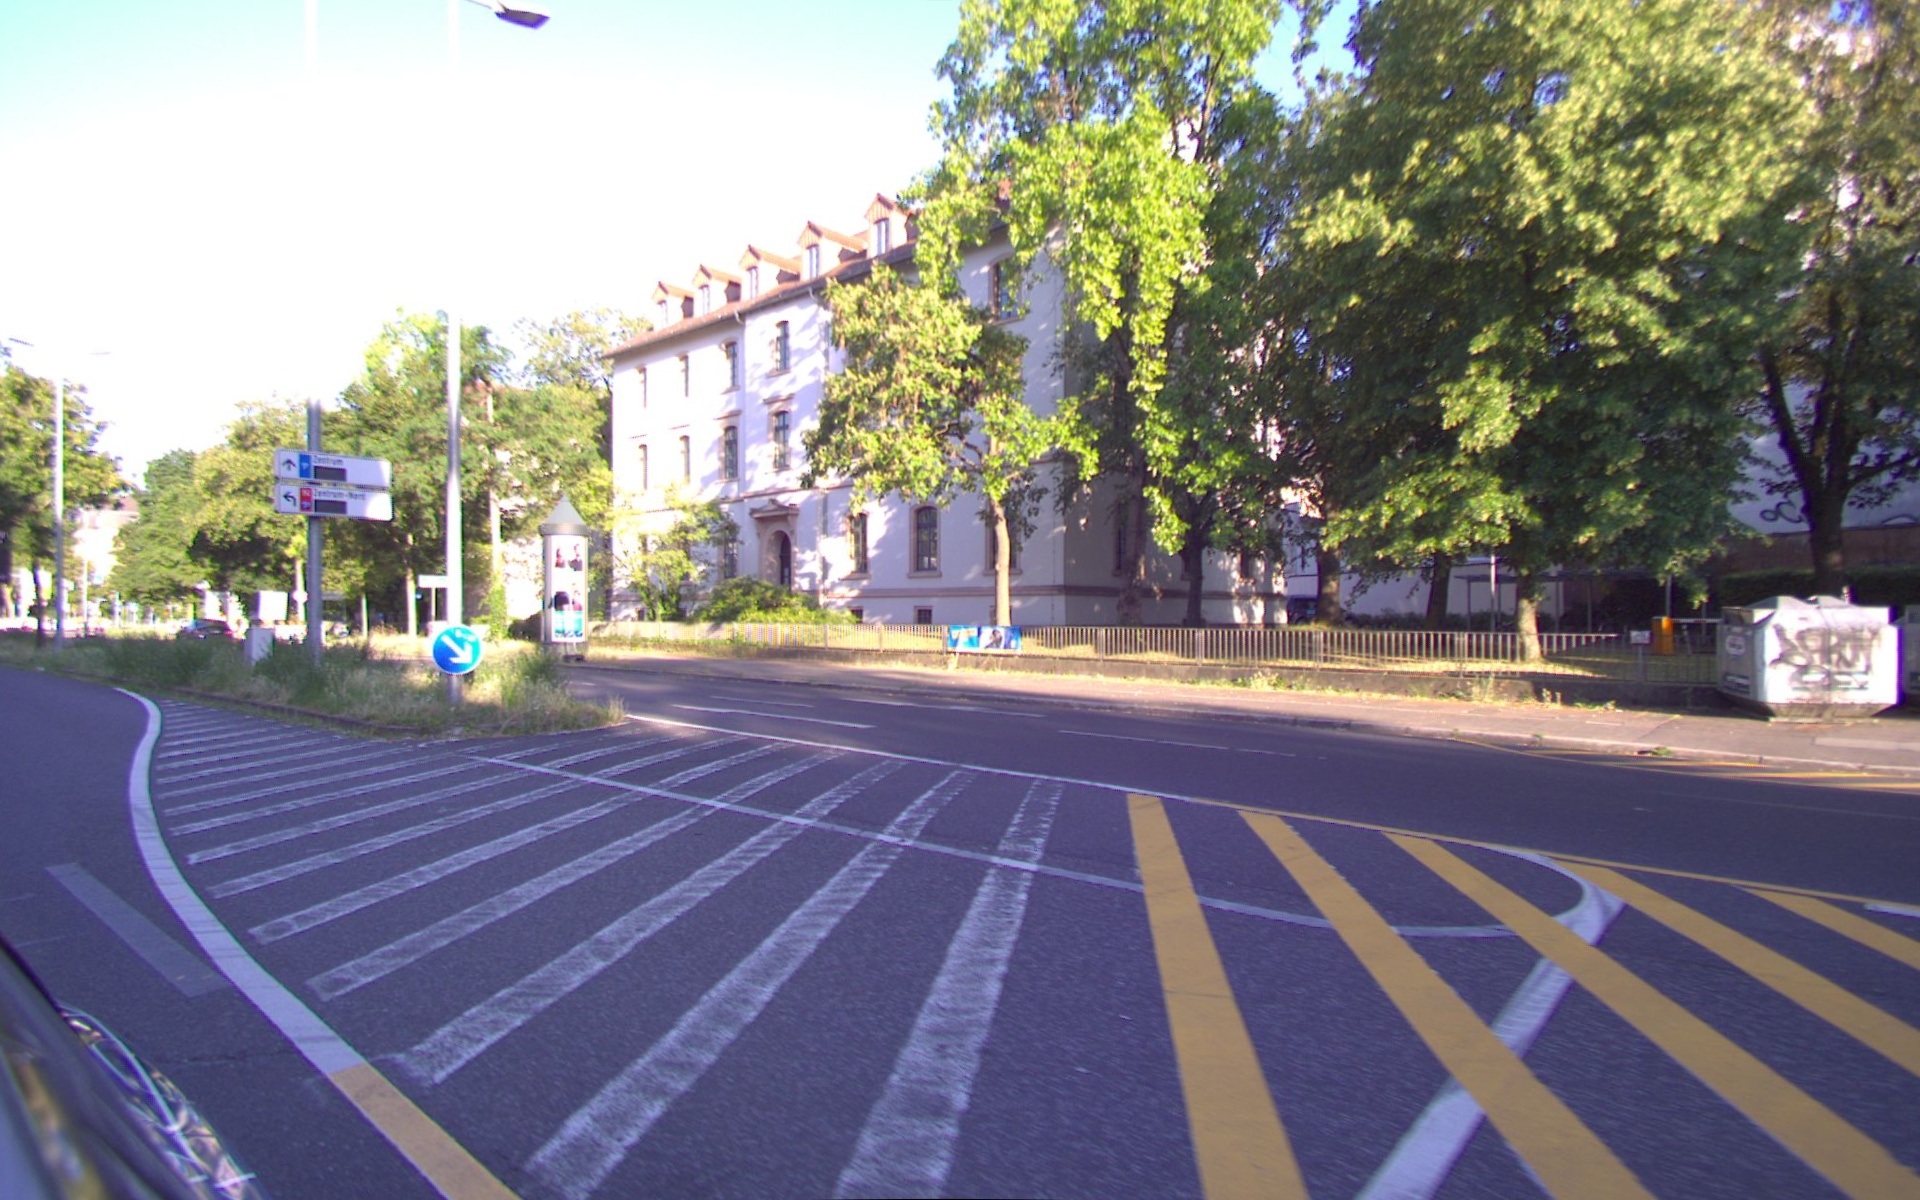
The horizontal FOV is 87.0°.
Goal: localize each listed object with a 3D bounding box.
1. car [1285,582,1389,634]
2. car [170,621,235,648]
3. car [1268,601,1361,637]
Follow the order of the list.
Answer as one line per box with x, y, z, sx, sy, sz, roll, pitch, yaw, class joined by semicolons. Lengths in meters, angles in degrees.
14.372;0.287;38.695;3.221;1.837;1.862;-1;0;-1;car
-38.661;1.754;51.640;4.005;1.283;1.755;-1;-5;41;car
18.270;0.975;52.241;4.047;1.842;1.966;0;-1;-10;car
